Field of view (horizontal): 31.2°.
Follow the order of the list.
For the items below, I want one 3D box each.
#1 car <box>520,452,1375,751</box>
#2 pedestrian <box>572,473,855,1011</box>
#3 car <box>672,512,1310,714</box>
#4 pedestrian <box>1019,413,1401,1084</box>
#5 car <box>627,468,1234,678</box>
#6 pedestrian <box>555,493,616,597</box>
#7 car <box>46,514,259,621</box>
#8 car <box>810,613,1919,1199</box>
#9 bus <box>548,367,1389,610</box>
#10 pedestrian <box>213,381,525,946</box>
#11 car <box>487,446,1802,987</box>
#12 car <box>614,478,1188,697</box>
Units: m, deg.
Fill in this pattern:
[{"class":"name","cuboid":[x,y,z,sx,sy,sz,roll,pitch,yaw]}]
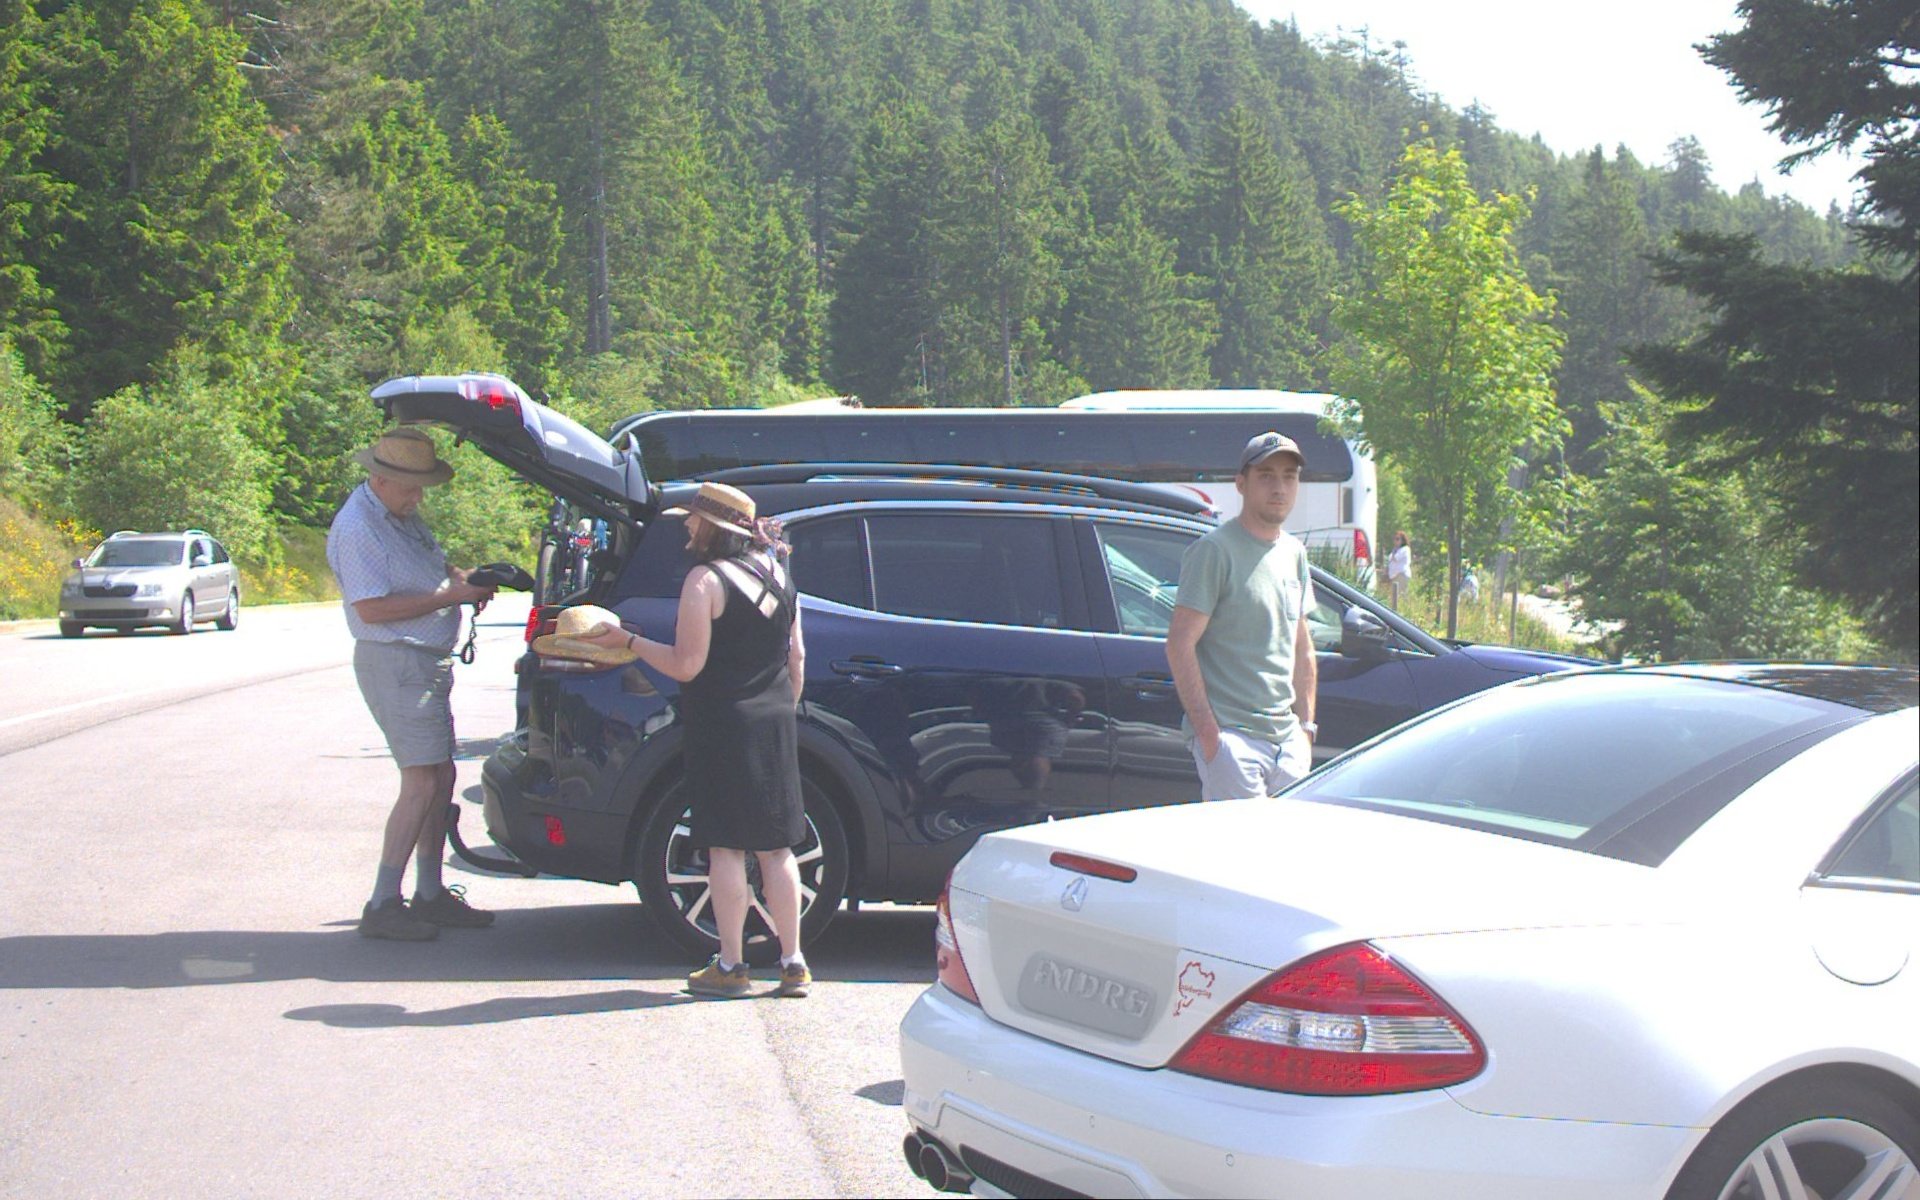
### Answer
[{"class":"car","cuboid":[-0.078,-0.017,20.959,4.949,1.690,1.945,-1,1,-1]},{"class":"pedestrian","cuboid":[-0.768,0.425,10.647,0.714,1.607,0.537,1,0,-23]},{"class":"car","cuboid":[0.173,0.059,23.863,4.243,1.264,1.838,-1,1,-3]},{"class":"pedestrian","cuboid":[0.699,0.393,9.695,0.746,1.794,0.736,1,0,-35]},{"class":"car","cuboid":[-0.282,-0.256,29.645,5.033,1.645,2.048,-1,1,-3]},{"class":"pedestrian","cuboid":[-5.787,-0.848,53.138,0.770,1.579,0.772,-1,1,4]},{"class":"car","cuboid":[-11.521,-0.502,49.352,1.879,1.469,4.714,0,1,1]},{"class":"car","cuboid":[2.088,0.762,6.792,4.397,1.291,1.756,2,2,-26]},{"class":"bus","cuboid":[0.220,-1.738,54.938,13.097,3.520,3.043,-1,1,8]},{"class":"pedestrian","cuboid":[-2.040,0.185,11.900,0.736,1.864,0.757,3,4,27]},{"class":"car","cuboid":[0.540,0.394,12.277,4.343,1.620,1.870,3,0,-8]},{"class":"car","cuboid":[-0.475,-0.117,26.520,4.243,1.548,1.838,-1,1,-3]}]
